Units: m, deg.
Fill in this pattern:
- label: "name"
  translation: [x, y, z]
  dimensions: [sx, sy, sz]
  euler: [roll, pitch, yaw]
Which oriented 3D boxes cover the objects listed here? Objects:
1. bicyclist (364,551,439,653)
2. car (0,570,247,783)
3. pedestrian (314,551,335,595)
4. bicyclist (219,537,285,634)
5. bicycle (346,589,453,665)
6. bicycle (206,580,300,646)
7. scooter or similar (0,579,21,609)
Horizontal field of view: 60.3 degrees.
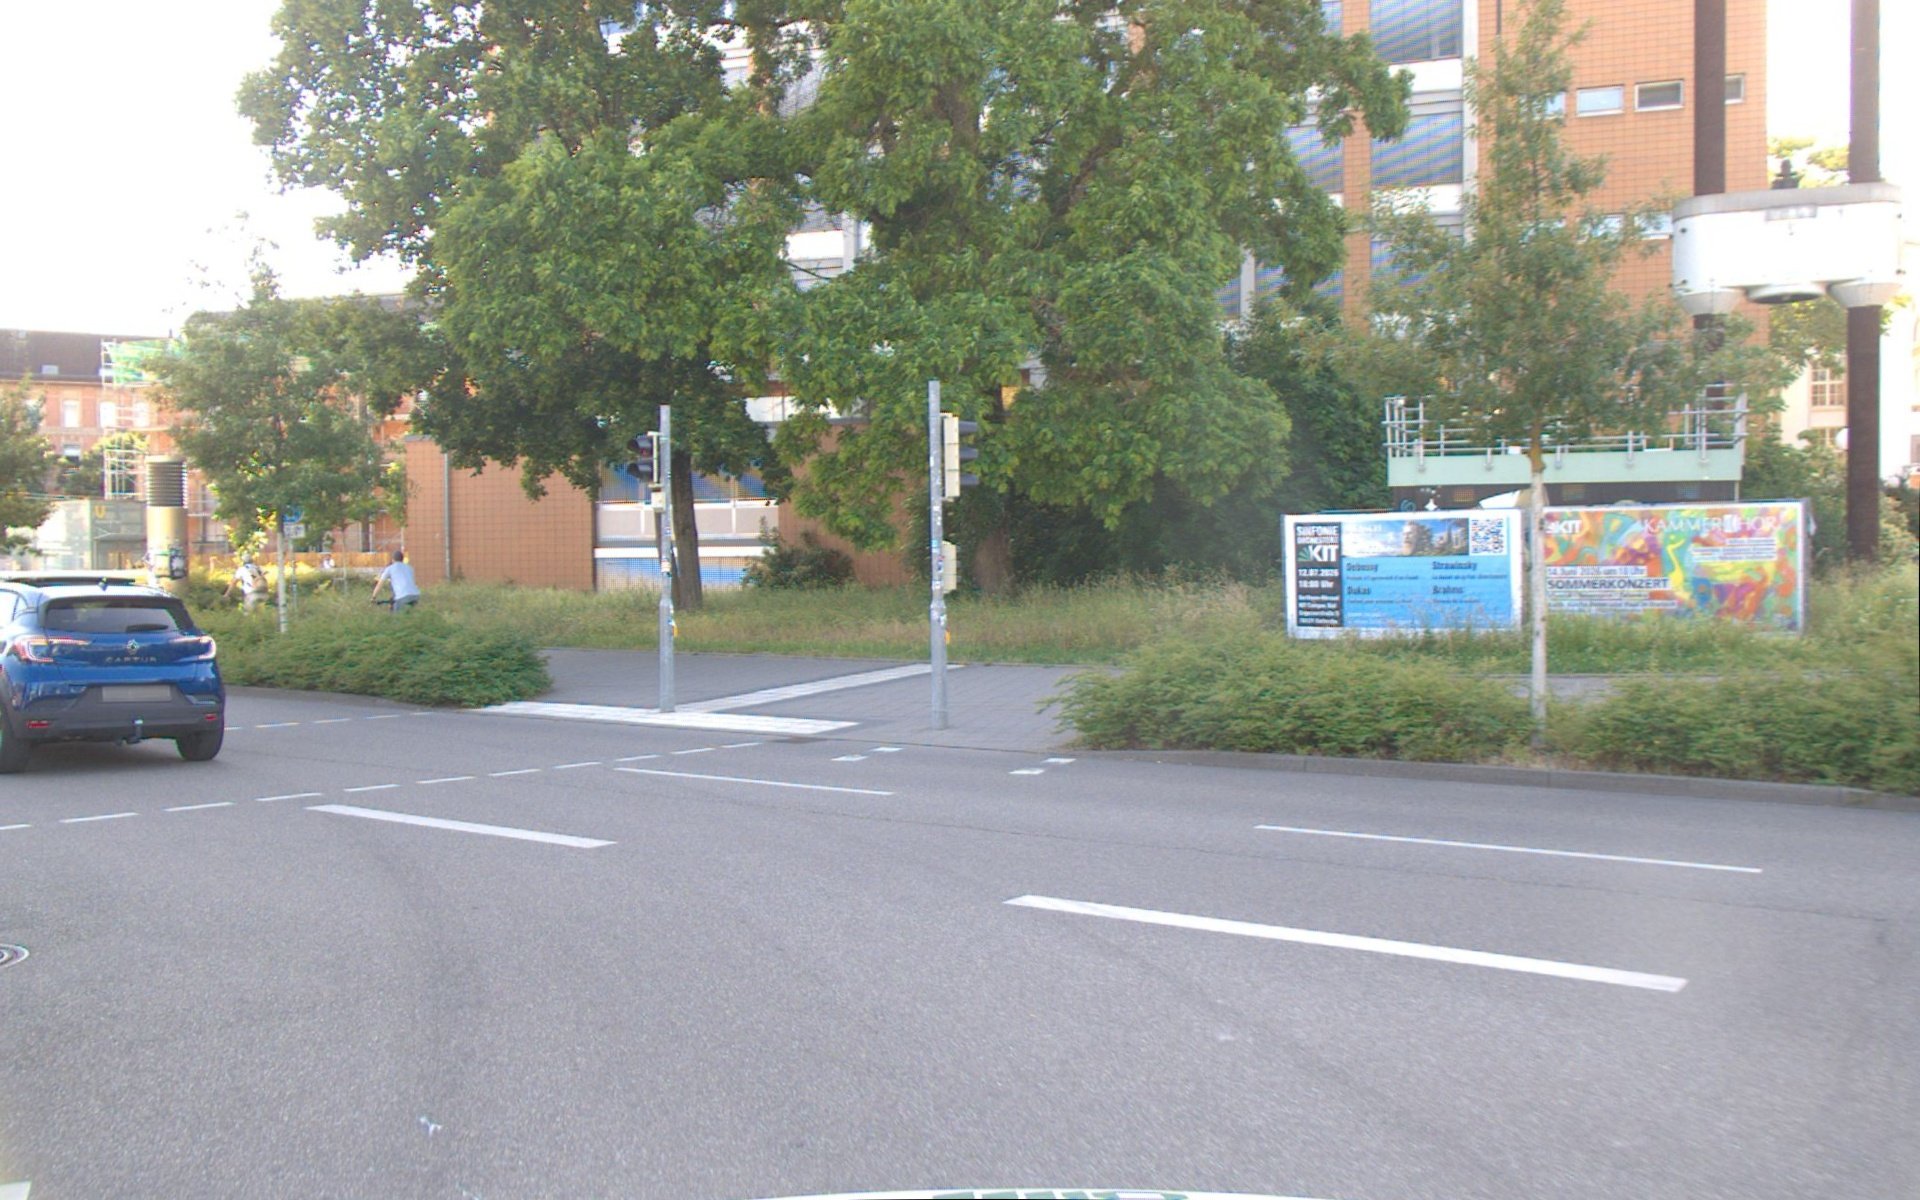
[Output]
- label: "bicyclist"
  translation: [-9.202, 0.019, 27.244]
  dimensions: [0.958, 1.645, 0.719]
  euler: [1, 2, 36]
- label: "car"
  translation: [-8.106, 0.572, 14.998]
  dimensions: [1.868, 1.645, 3.738]
  euler: [-2, 2, -43]
- label: "pedestrian"
  translation: [-26.433, -1.131, 68.777]
  dimensions: [0.775, 1.782, 0.535]
  euler: [1, 2, -21]
- label: "bicyclist"
  translation: [-13.313, -0.278, 31.099]
  dimensions: [0.957, 1.793, 0.720]
  euler: [0, 2, 34]
- label: "bicycle"
  translation: [-9.252, 0.428, 27.292]
  dimensions: [1.832, 1.185, 0.716]
  euler: [1, 2, 35]
- label: "bicycle"
  translation: [-13.302, 0.236, 31.104]
  dimensions: [1.831, 1.185, 0.746]
  euler: [1, 2, 34]
- label: "scooter or similar"
  translation: [-34.185, -0.225, 59.129]
  dimensions: [1.221, 1.030, 0.468]
  euler: [2, 2, 26]
